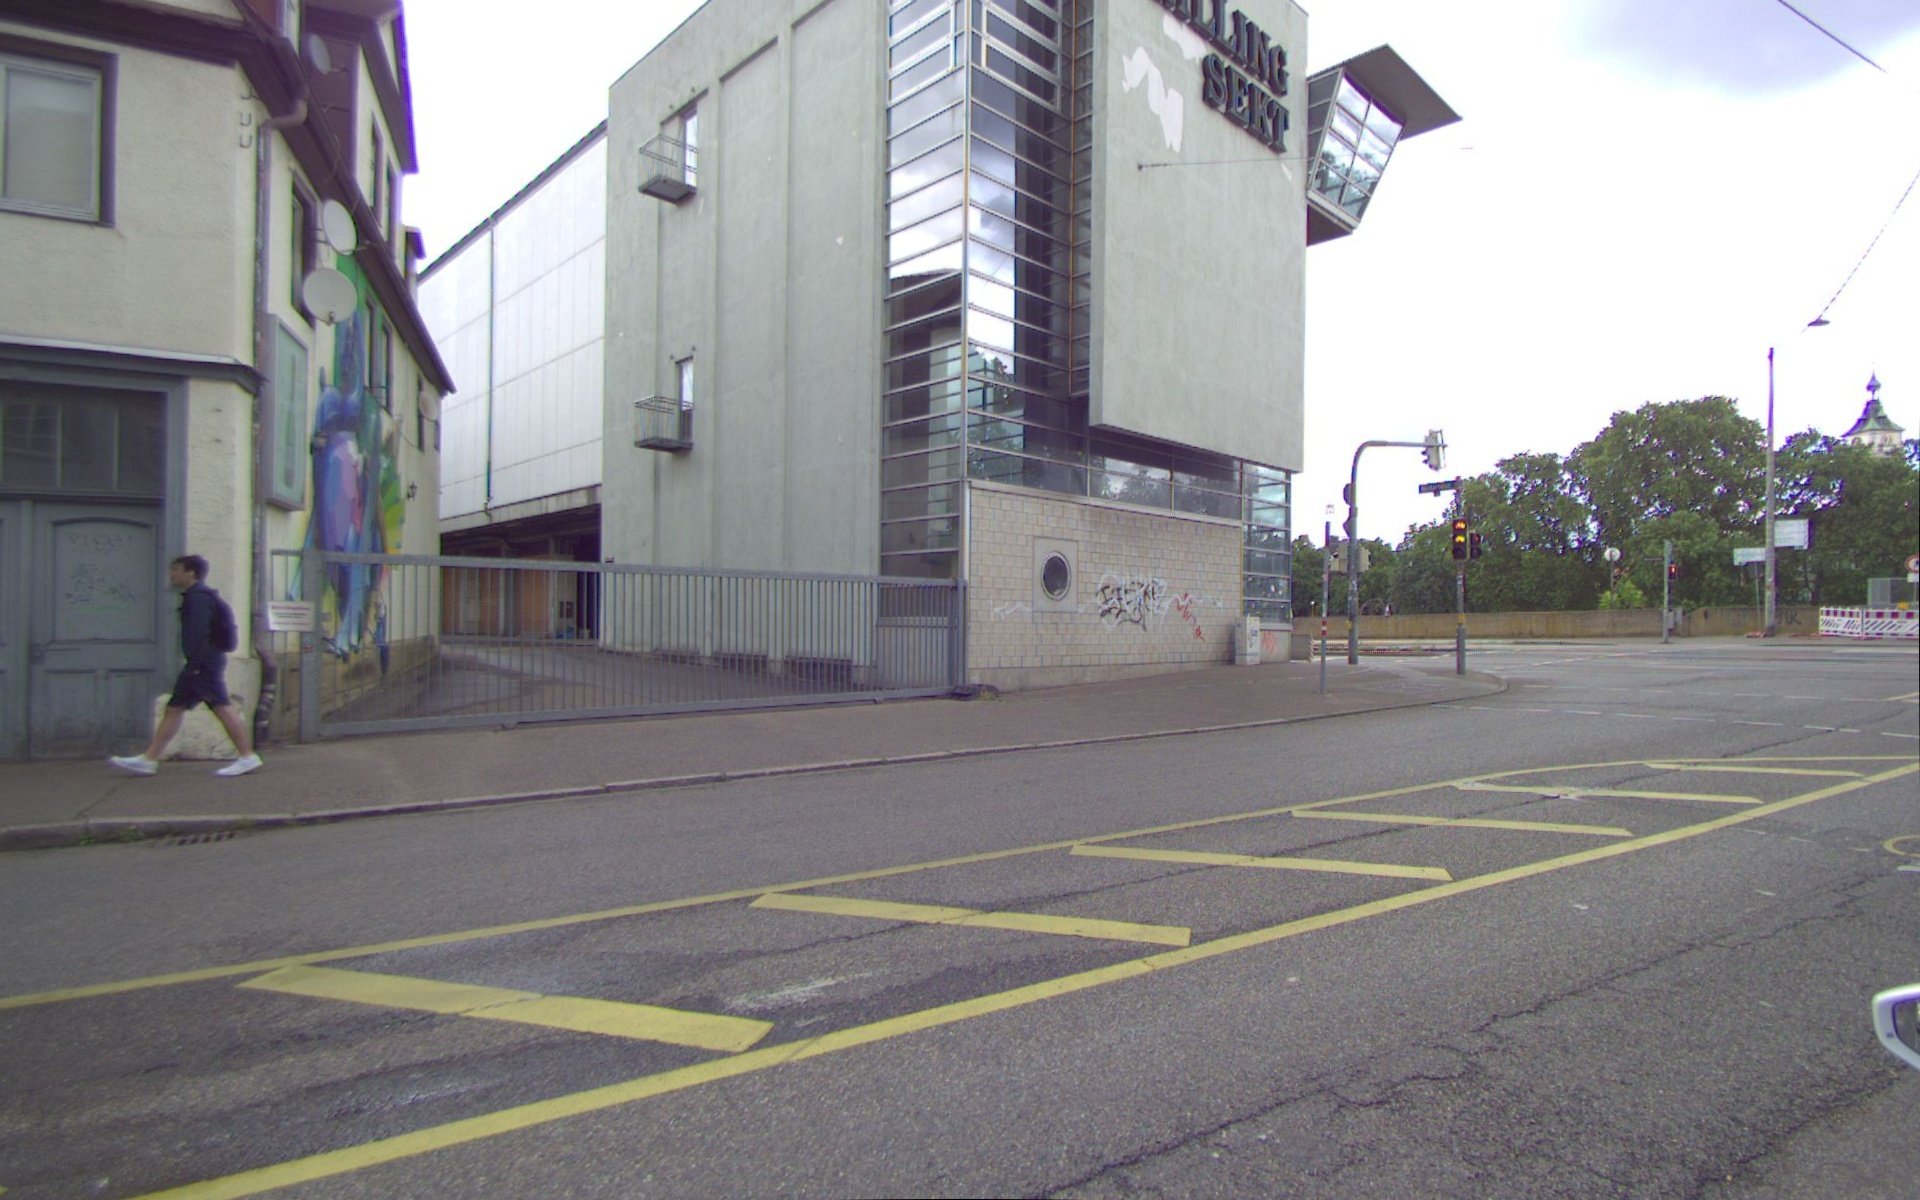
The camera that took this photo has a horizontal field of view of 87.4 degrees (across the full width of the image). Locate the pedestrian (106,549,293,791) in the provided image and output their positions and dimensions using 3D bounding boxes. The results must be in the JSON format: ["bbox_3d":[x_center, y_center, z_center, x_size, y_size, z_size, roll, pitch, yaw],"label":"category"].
[{"bbox_3d":[-6.471,0.546,8.637,1.077,1.911,1.050,-1,1,-27],"label":"pedestrian"}]
